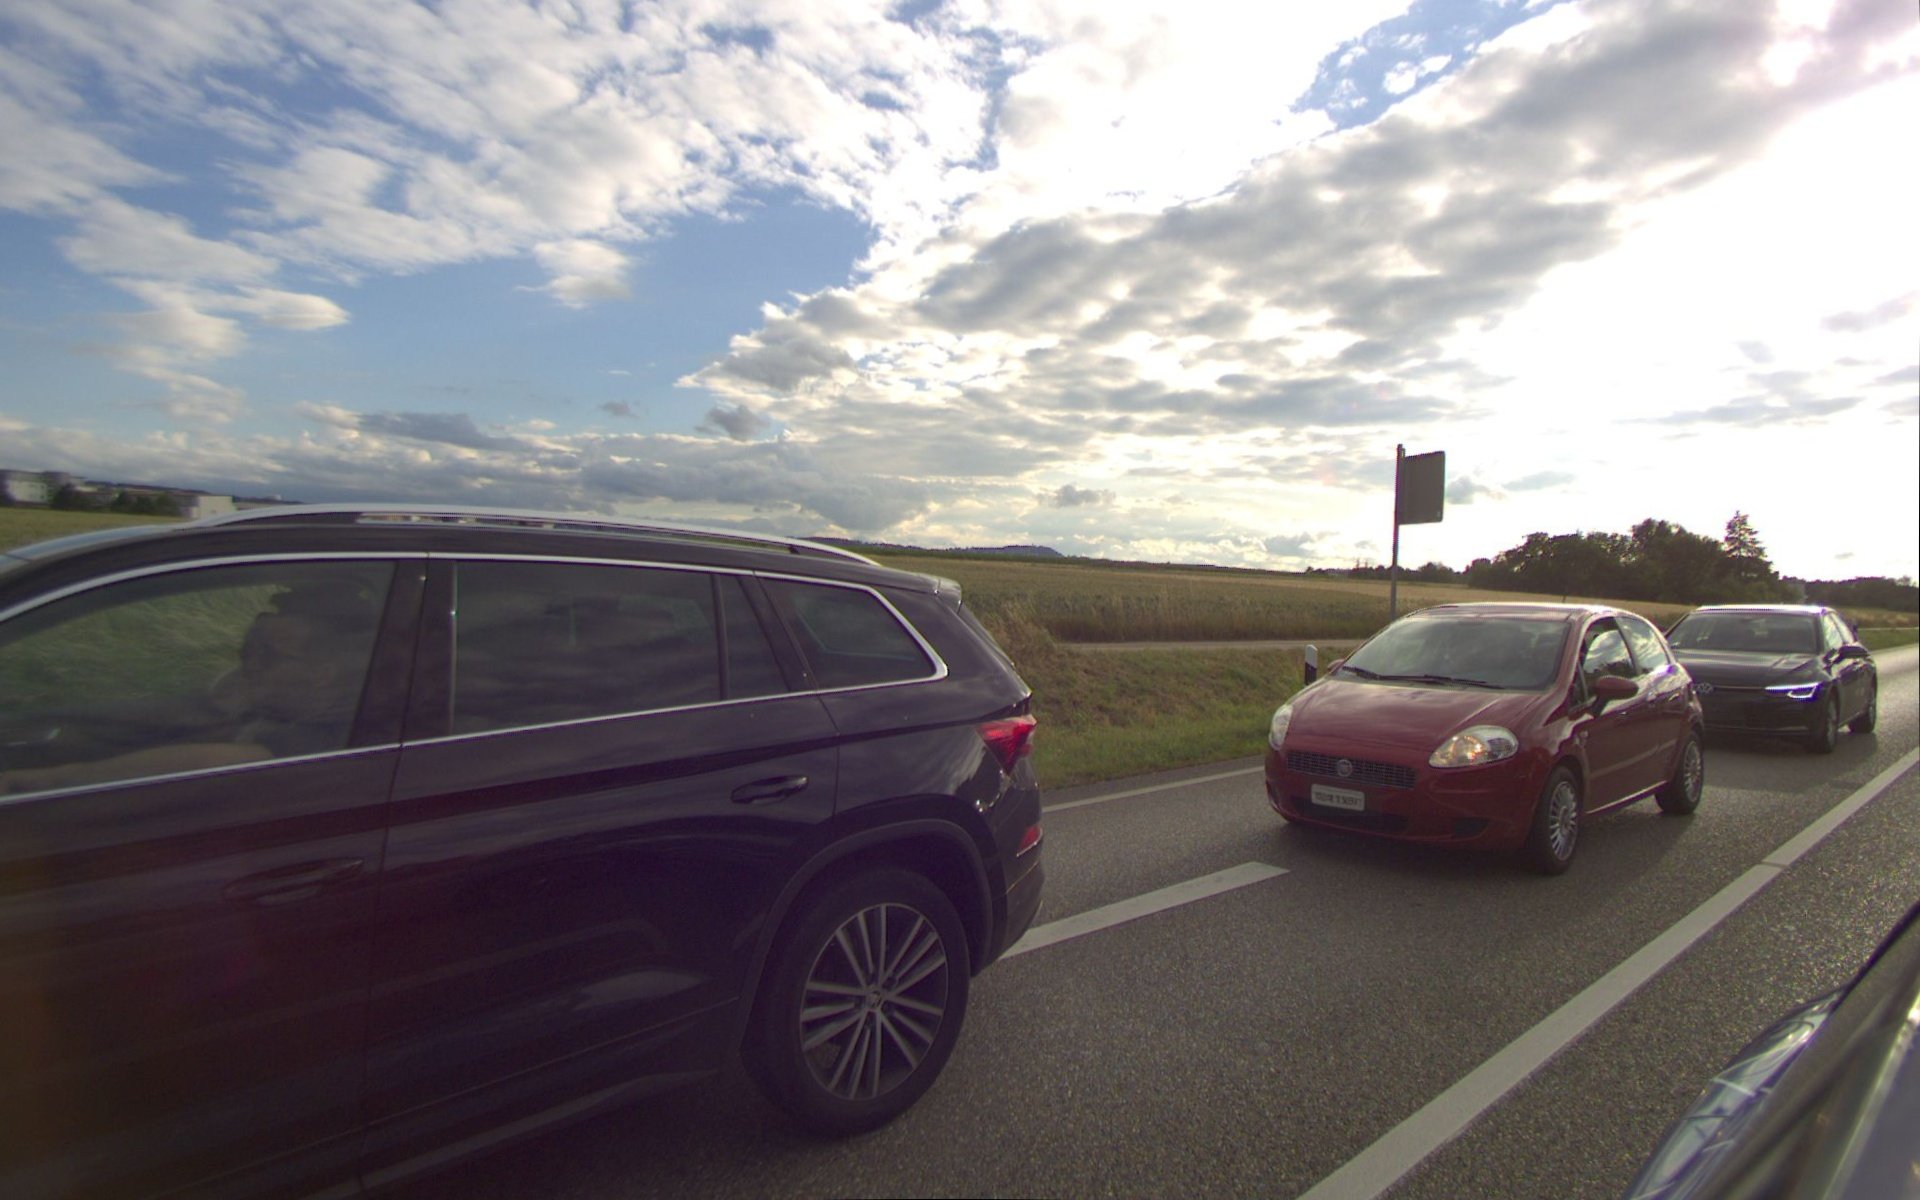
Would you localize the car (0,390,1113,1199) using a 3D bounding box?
[{"bbox_3d":[-1.785,0.530,2.565,4.477,1.730,1.839,-1,0,-41],"label":"car"}]

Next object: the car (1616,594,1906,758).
[{"bbox_3d":[8.931,0.679,11.173,3.962,1.475,1.797,0,0,-41],"label":"car"}]

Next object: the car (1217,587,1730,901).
[{"bbox_3d":[3.557,0.666,6.714,3.840,1.475,1.710,-1,0,-41],"label":"car"}]
